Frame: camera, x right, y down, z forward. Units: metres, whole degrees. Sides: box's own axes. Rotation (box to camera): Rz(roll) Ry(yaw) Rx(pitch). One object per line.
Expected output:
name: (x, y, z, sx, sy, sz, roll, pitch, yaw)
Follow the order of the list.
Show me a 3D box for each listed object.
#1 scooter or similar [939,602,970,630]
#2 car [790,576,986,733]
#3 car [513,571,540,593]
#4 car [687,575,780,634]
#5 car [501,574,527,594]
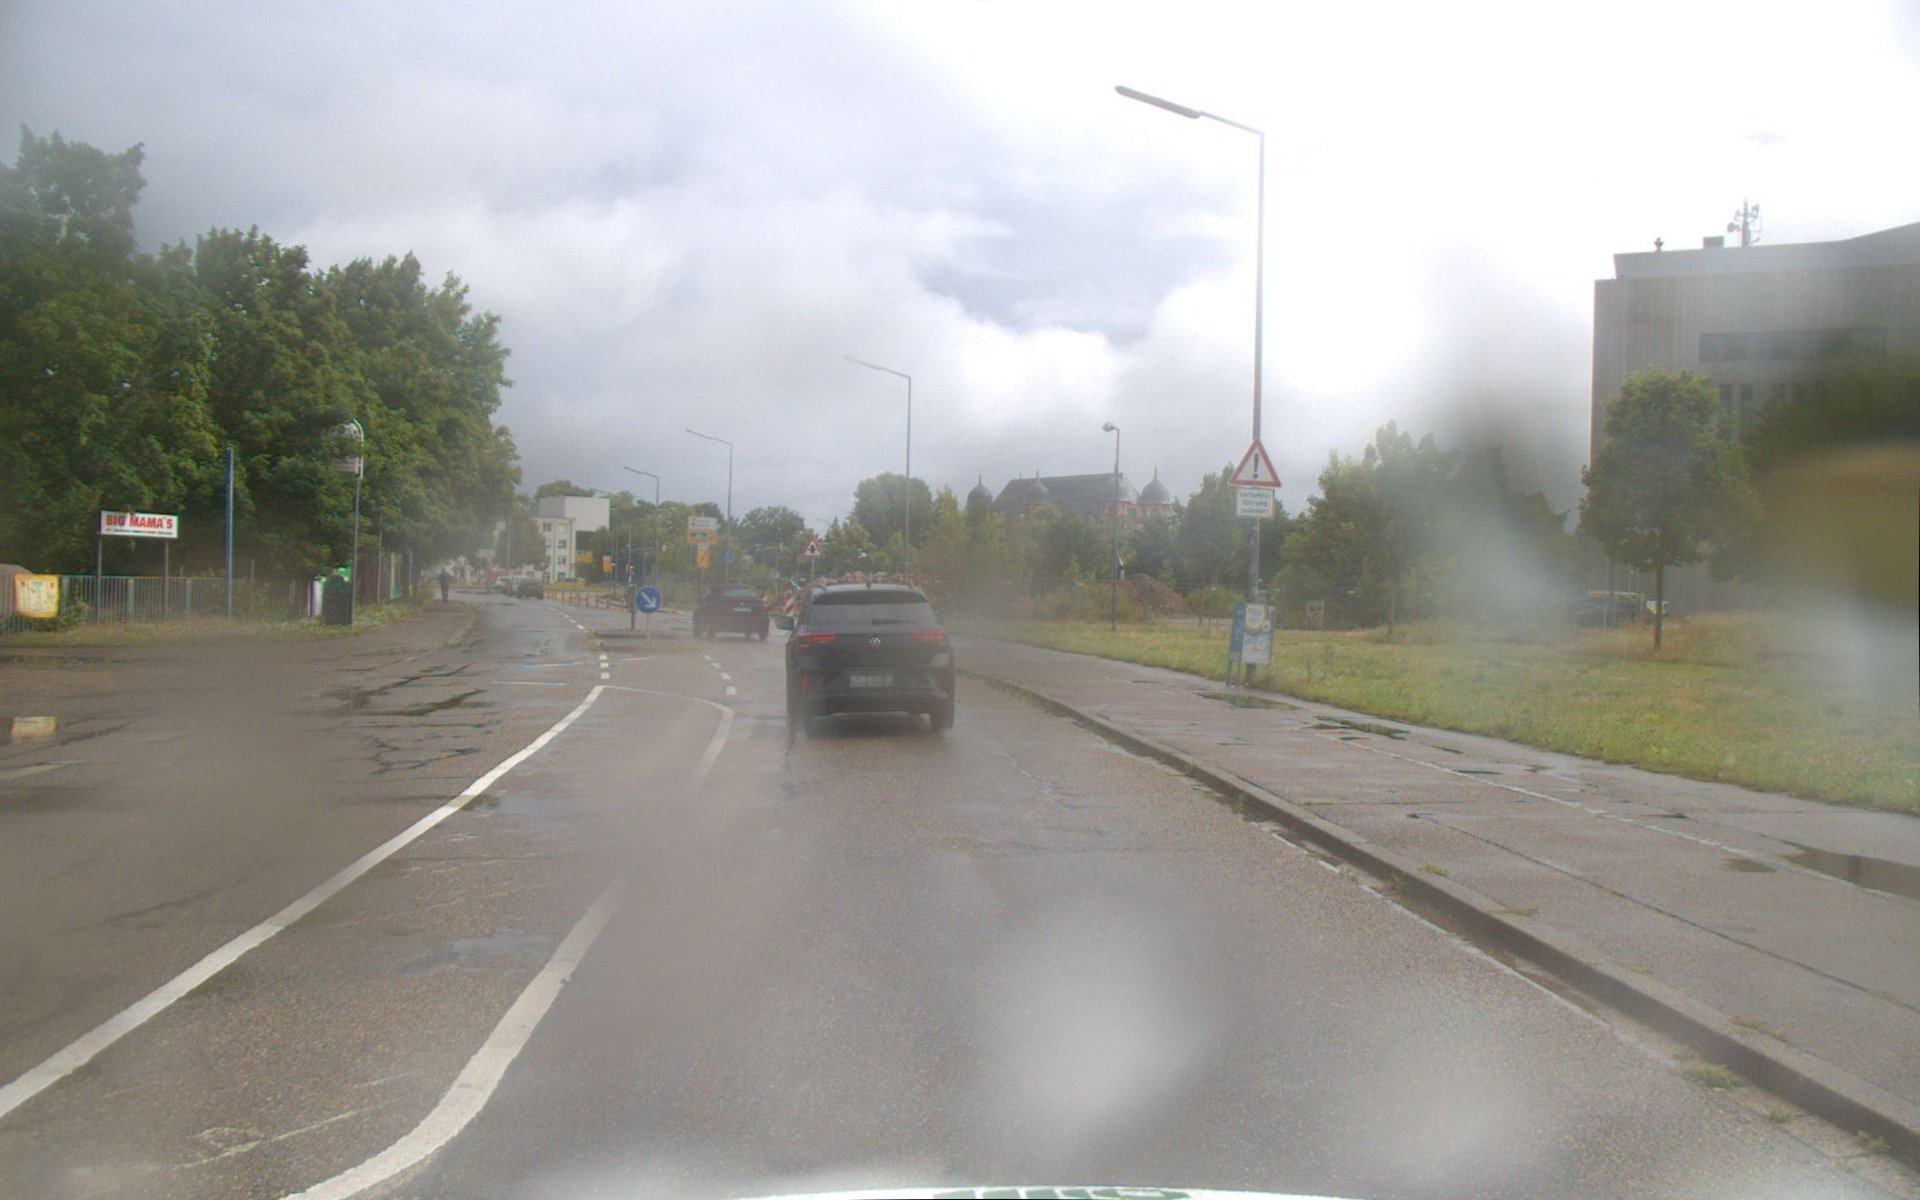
scooter or similar: (-0.253, 0.742, 77.434, 1.255, 1.207, 0.503, 5, 2, 23)
car: (-0.907, 0.514, 18.568, 1.948, 1.547, 3.995, -1, 1, -6)
car: (-33.623, -1.414, 128.310, 1.813, 1.670, 3.995, 1, 0, -18)
car: (-6.096, 0.126, 44.256, 1.812, 1.467, 3.980, -1, 0, -17)
car: (-38.229, -1.376, 141.705, 1.965, 1.732, 3.995, 1, 0, -18)
